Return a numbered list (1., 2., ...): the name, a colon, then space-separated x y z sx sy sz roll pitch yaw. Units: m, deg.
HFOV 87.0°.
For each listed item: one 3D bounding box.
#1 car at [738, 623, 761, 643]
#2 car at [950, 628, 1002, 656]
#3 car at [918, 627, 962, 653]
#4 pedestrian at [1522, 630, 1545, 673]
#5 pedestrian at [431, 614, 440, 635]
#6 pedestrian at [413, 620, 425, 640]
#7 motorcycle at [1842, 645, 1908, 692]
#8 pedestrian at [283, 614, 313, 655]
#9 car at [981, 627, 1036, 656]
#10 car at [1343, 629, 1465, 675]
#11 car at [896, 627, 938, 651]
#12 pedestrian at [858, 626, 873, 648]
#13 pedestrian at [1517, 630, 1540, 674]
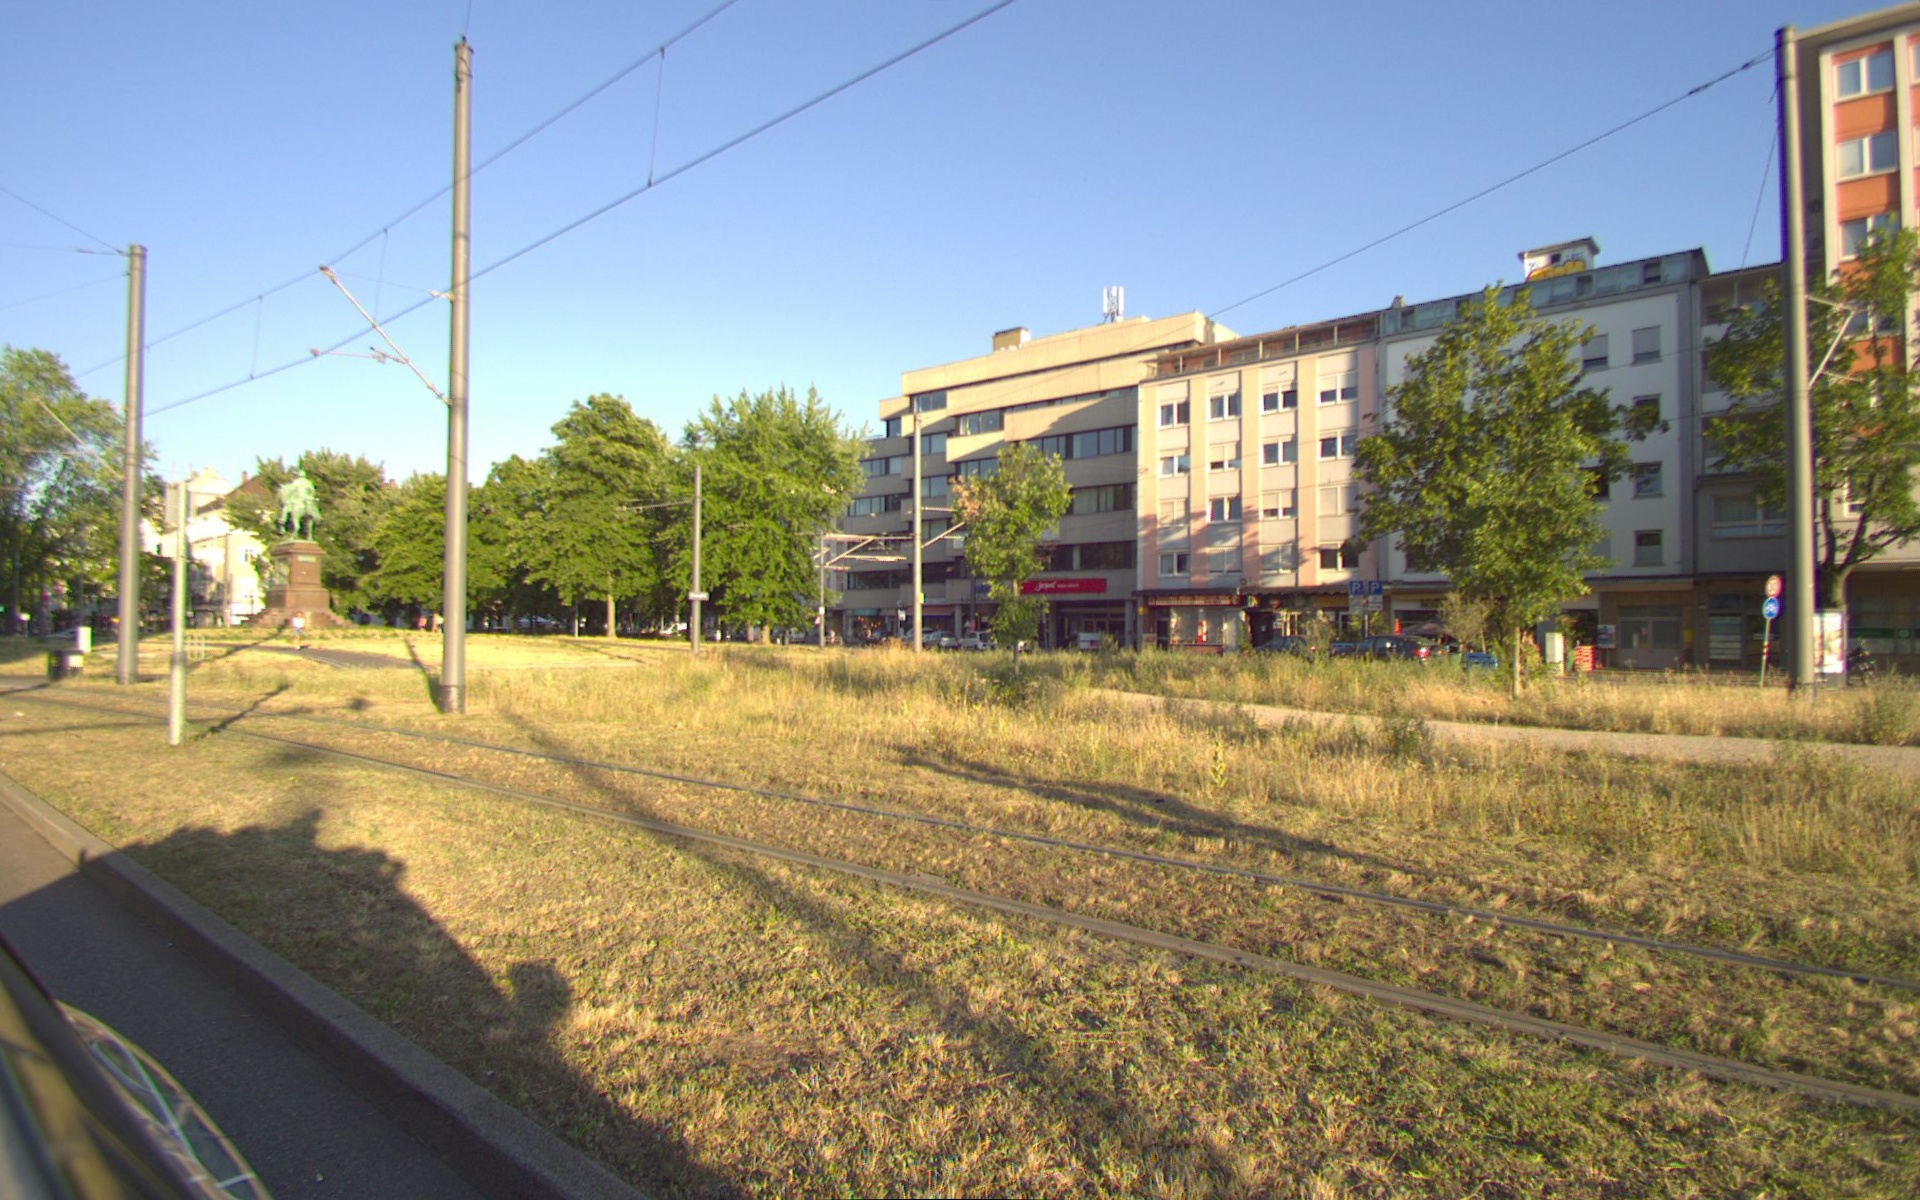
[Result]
1. car: -23.536 3.667 113.129 1.966 2.029 4.012 -1 0 -18
2. car: 1.086 2.941 71.544 1.965 1.893 4.013 1 -2 -27
3. car: -1.532 3.010 77.062 1.965 1.893 4.013 1 -2 -23
4. pedestrian: 23.940 2.128 42.240 0.698 1.764 0.642 -2 -2 41
5. pedestrian: -44.128 2.075 85.175 0.512 1.707 0.528 -1 -2 41
6. pedestrian: -45.245 2.511 84.703 0.635 1.682 0.702 -1 -2 41
7. motorcycle: 26.585 1.980 29.419 1.390 1.328 0.376 -2 -2 43
8. pedestrian: -28.918 1.501 44.205 0.797 1.741 0.880 -2 -2 41
9. car: 3.187 2.714 66.930 1.892 1.878 4.013 1 -2 -27
10. car: 17.264 1.975 39.520 1.965 1.697 4.012 1 -2 -28
11. car: -3.519 3.134 82.099 1.965 1.951 4.013 1 -2 -25
12. pedestrian: -8.706 3.395 93.267 0.892 2.051 1.123 -2 -2 43
13. pedestrian: 23.430 2.139 41.714 0.704 1.806 0.587 -2 -2 41
